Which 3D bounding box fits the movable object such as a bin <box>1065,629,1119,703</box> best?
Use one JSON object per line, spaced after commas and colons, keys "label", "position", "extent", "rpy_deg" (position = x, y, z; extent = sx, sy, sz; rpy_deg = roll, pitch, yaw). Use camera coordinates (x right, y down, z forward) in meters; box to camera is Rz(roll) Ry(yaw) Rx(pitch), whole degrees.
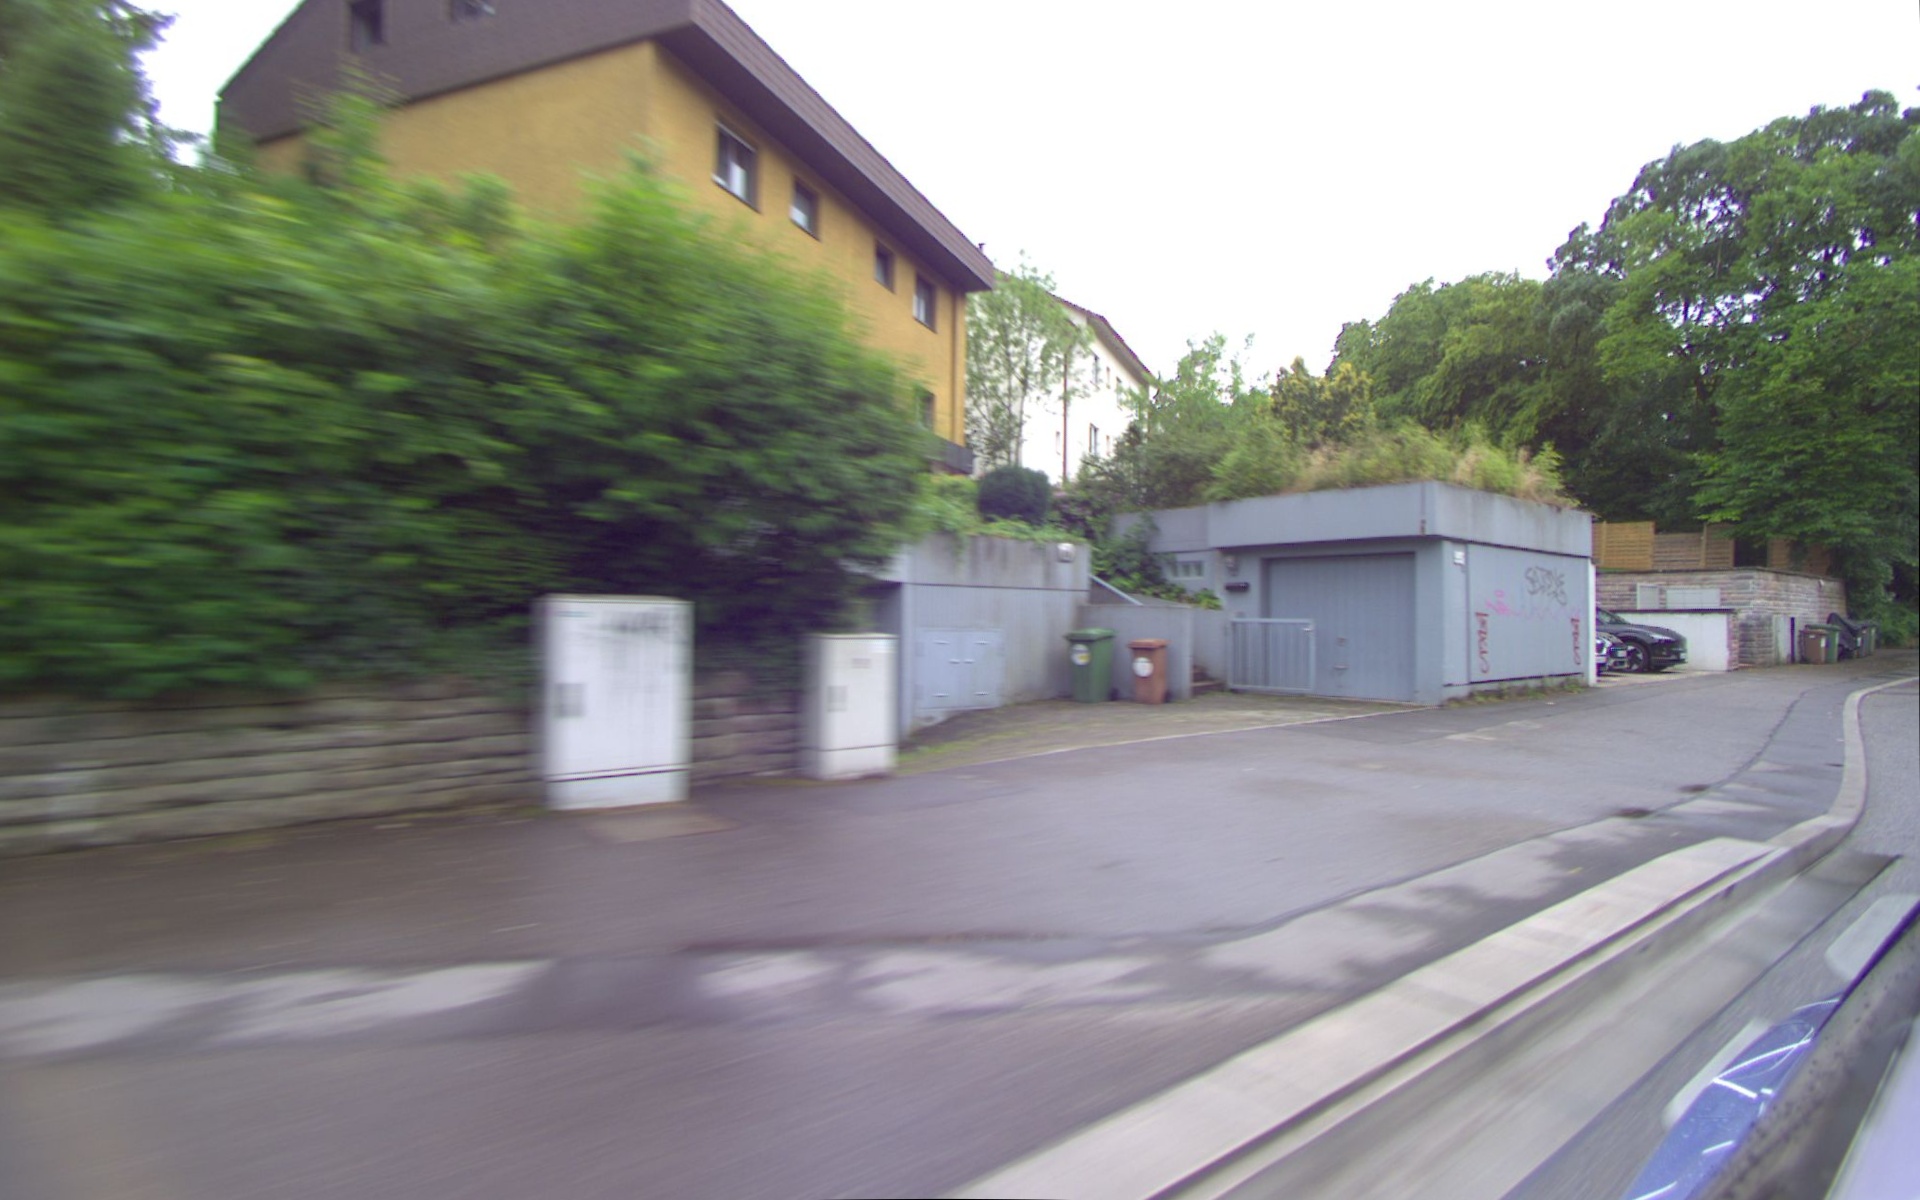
{"label": "movable object such as a bin", "position": [1.956, 0.958, 15.016], "extent": [0.625, 1.049, 0.527], "rpy_deg": [1, -1, -44]}

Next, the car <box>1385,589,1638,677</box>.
{"label": "car", "position": [11.023, 0.601, 20.468], "extent": [1.921, 1.534, 4.049], "rpy_deg": [2, 0, -35]}

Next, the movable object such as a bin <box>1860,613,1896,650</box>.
{"label": "movable object such as a bin", "position": [27.692, 0.942, 30.526], "extent": [0.688, 1.082, 0.666], "rpy_deg": [0, -2, -38]}

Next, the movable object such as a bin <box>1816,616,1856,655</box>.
{"label": "movable object such as a bin", "position": [23.464, 0.935, 27.111], "extent": [0.647, 1.017, 0.666], "rpy_deg": [0, -2, -38]}

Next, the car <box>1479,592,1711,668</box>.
{"label": "car", "position": [14.727, 0.628, 23.655], "extent": [1.861, 1.526, 4.228], "rpy_deg": [1, 1, -39]}

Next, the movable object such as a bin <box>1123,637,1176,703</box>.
{"label": "movable object such as a bin", "position": [2.733, 0.997, 14.621], "extent": [0.556, 0.918, 0.527], "rpy_deg": [1, -1, -44]}

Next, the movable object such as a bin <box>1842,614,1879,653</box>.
{"label": "movable object such as a bin", "position": [25.863, 0.959, 29.070], "extent": [0.647, 1.082, 0.666], "rpy_deg": [0, -2, -38]}

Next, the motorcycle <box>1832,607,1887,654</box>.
{"label": "motorcycle", "position": [24.824, 0.822, 27.919], "extent": [1.976, 1.261, 0.777], "rpy_deg": [0, -2, -39]}

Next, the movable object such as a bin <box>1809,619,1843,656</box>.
{"label": "movable object such as a bin", "position": [22.856, 0.977, 26.705], "extent": [0.539, 0.949, 0.570], "rpy_deg": [0, -2, -38]}

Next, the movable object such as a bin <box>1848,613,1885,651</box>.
{"label": "movable object such as a bin", "position": [26.485, 0.941, 29.571], "extent": [0.647, 1.082, 0.666], "rpy_deg": [0, -2, -38]}

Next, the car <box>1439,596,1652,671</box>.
{"label": "car", "position": [12.704, 0.666, 22.114], "extent": [1.804, 1.444, 3.643], "rpy_deg": [1, 1, -40]}

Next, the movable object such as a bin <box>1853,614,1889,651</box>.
{"label": "movable object such as a bin", "position": [27.047, 0.966, 30.040], "extent": [0.688, 1.082, 0.666], "rpy_deg": [0, -2, -38]}
